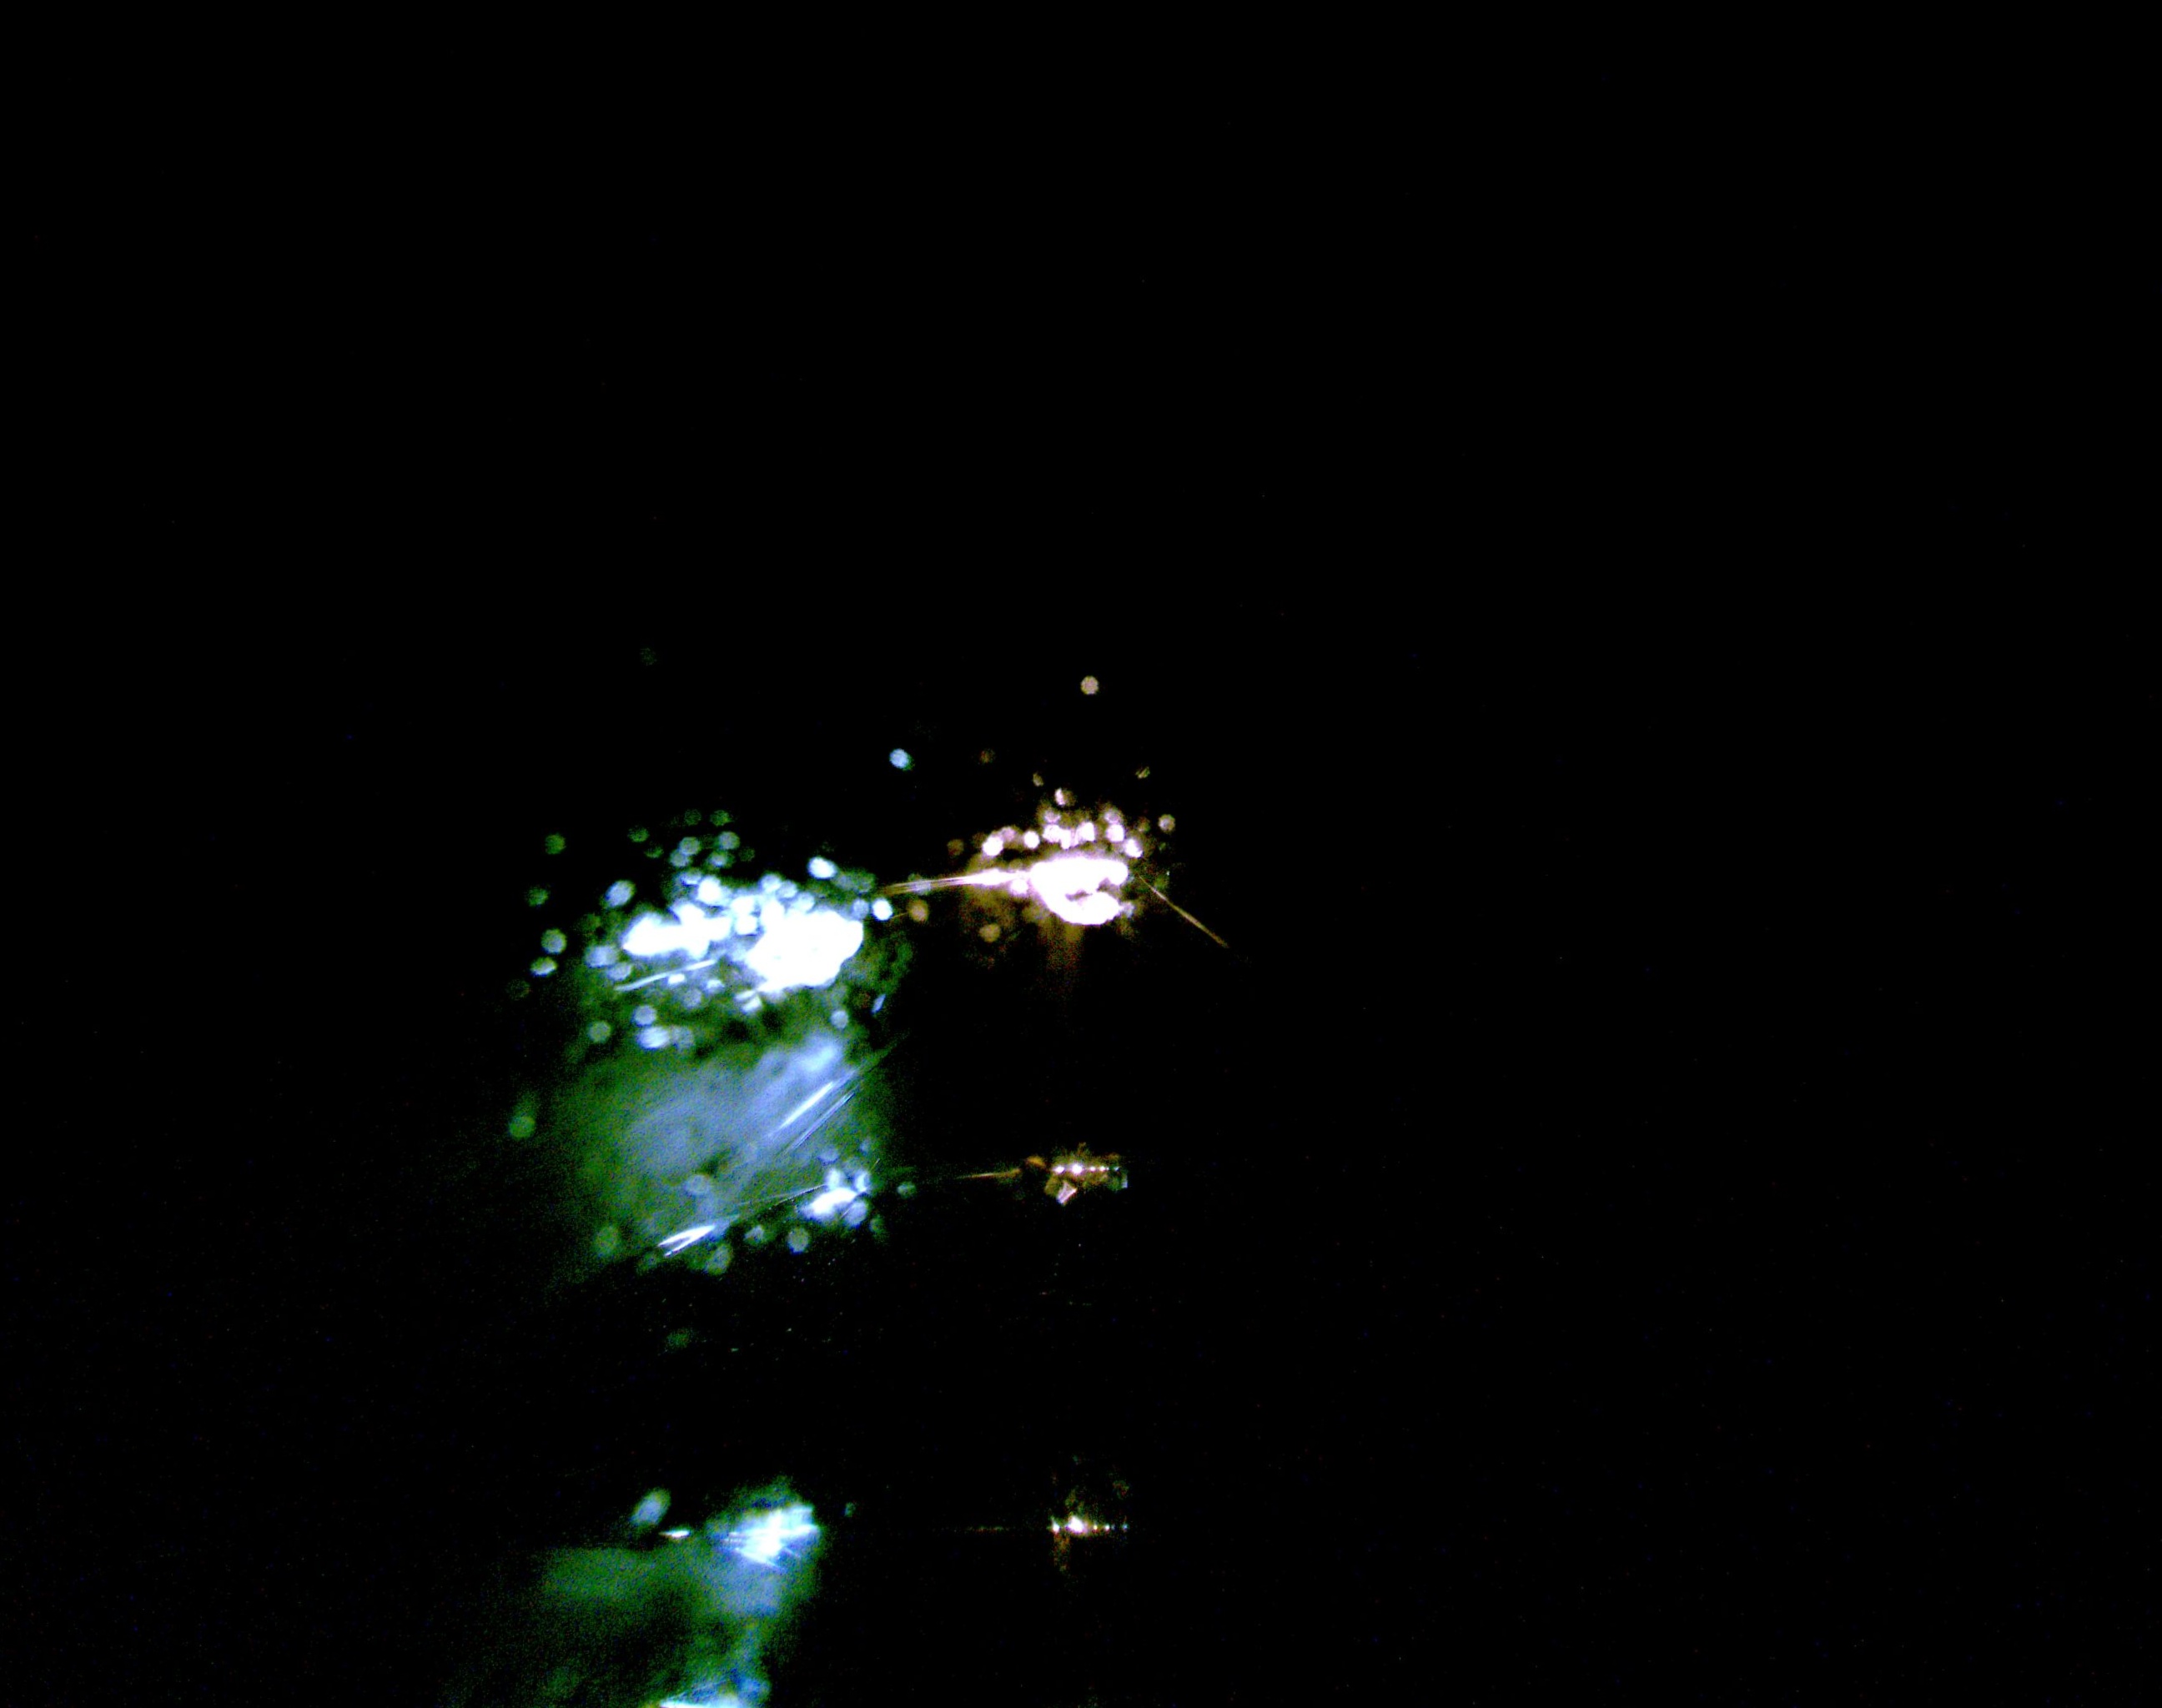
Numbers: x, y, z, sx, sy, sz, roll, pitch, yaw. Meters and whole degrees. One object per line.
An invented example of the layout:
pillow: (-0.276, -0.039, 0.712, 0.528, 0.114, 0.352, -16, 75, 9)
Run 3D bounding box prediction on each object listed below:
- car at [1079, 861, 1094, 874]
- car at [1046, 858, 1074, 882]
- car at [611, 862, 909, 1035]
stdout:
car: (0.700, 1.649, 99.765, 1.710, 1.470, 3.709, -3, 0, 1)
car: (-1.445, 1.128, 58.235, 1.710, 1.517, 3.879, -3, 0, 2)
car: (-3.162, 0.820, 8.981, 1.639, 1.425, 4.122, -1, 0, 0)
